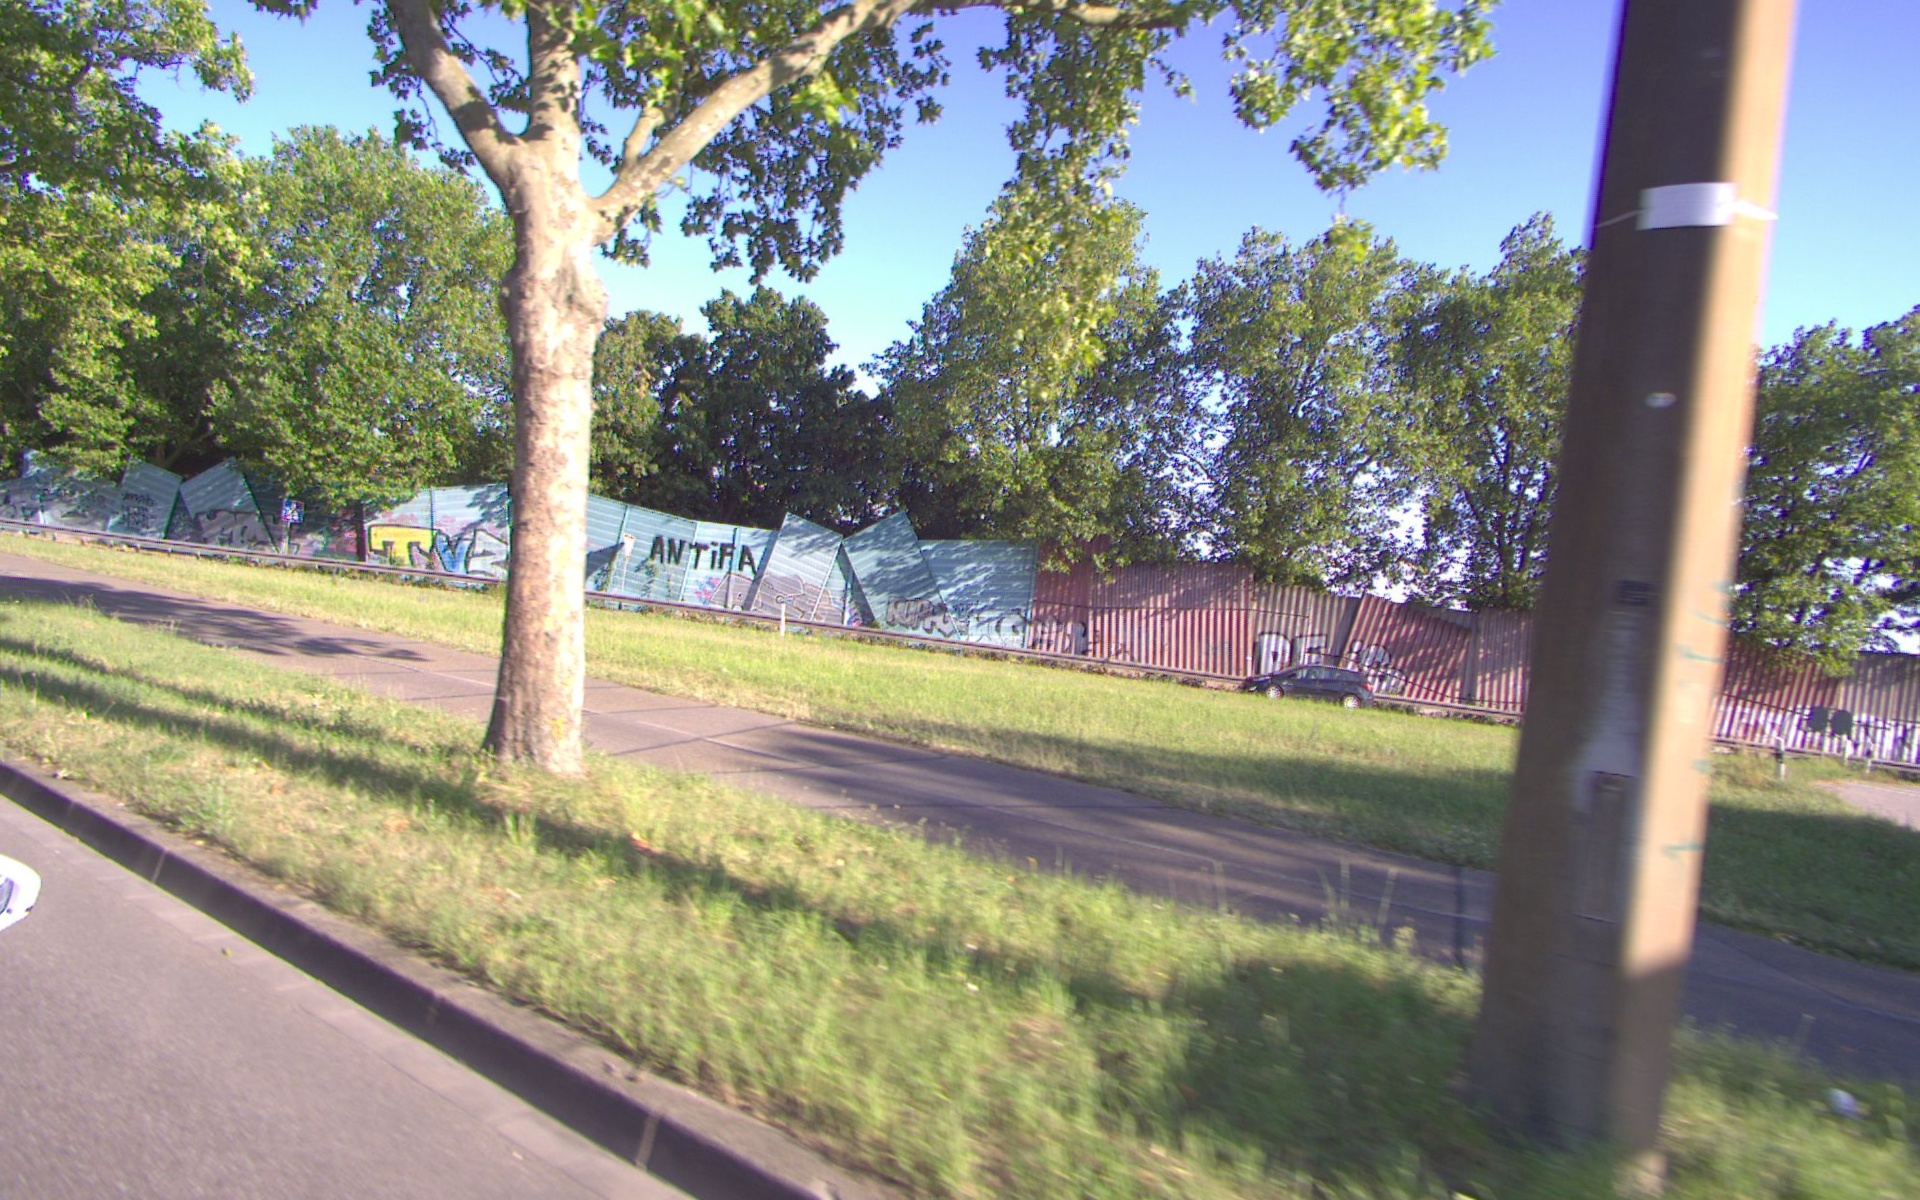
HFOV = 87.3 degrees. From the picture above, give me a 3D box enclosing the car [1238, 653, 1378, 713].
[{"bbox_3d":[11.977,2.841,34.808,4.143,1.457,1.800,7,-1,6],"label":"car"}]
